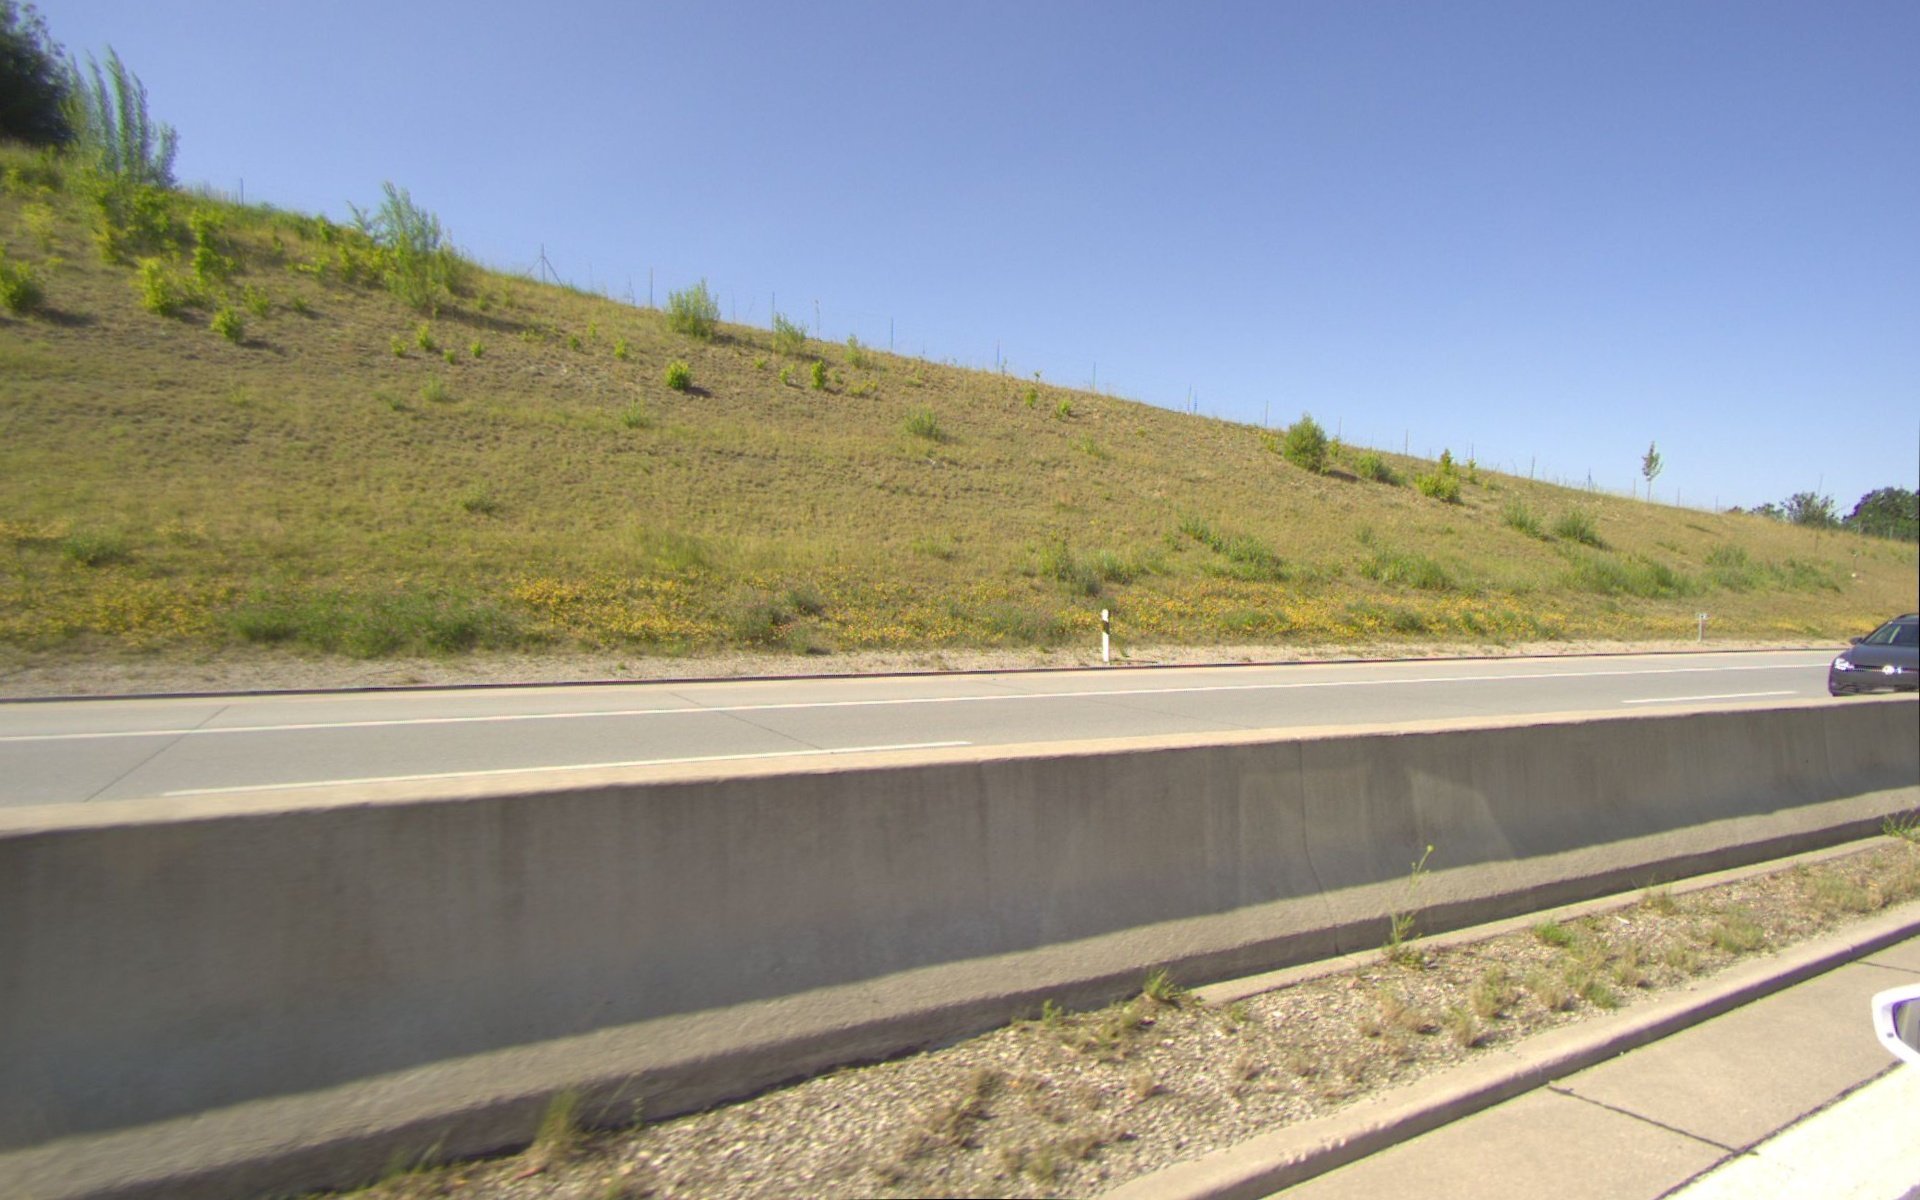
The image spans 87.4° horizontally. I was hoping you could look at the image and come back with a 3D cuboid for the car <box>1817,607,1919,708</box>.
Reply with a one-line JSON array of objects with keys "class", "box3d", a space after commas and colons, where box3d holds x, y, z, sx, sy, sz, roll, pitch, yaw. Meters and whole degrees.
[{"class": "car", "box3d": [15.881, 0.900, 16.355, 4.137, 1.468, 1.763, 1, 1, -32]}]
